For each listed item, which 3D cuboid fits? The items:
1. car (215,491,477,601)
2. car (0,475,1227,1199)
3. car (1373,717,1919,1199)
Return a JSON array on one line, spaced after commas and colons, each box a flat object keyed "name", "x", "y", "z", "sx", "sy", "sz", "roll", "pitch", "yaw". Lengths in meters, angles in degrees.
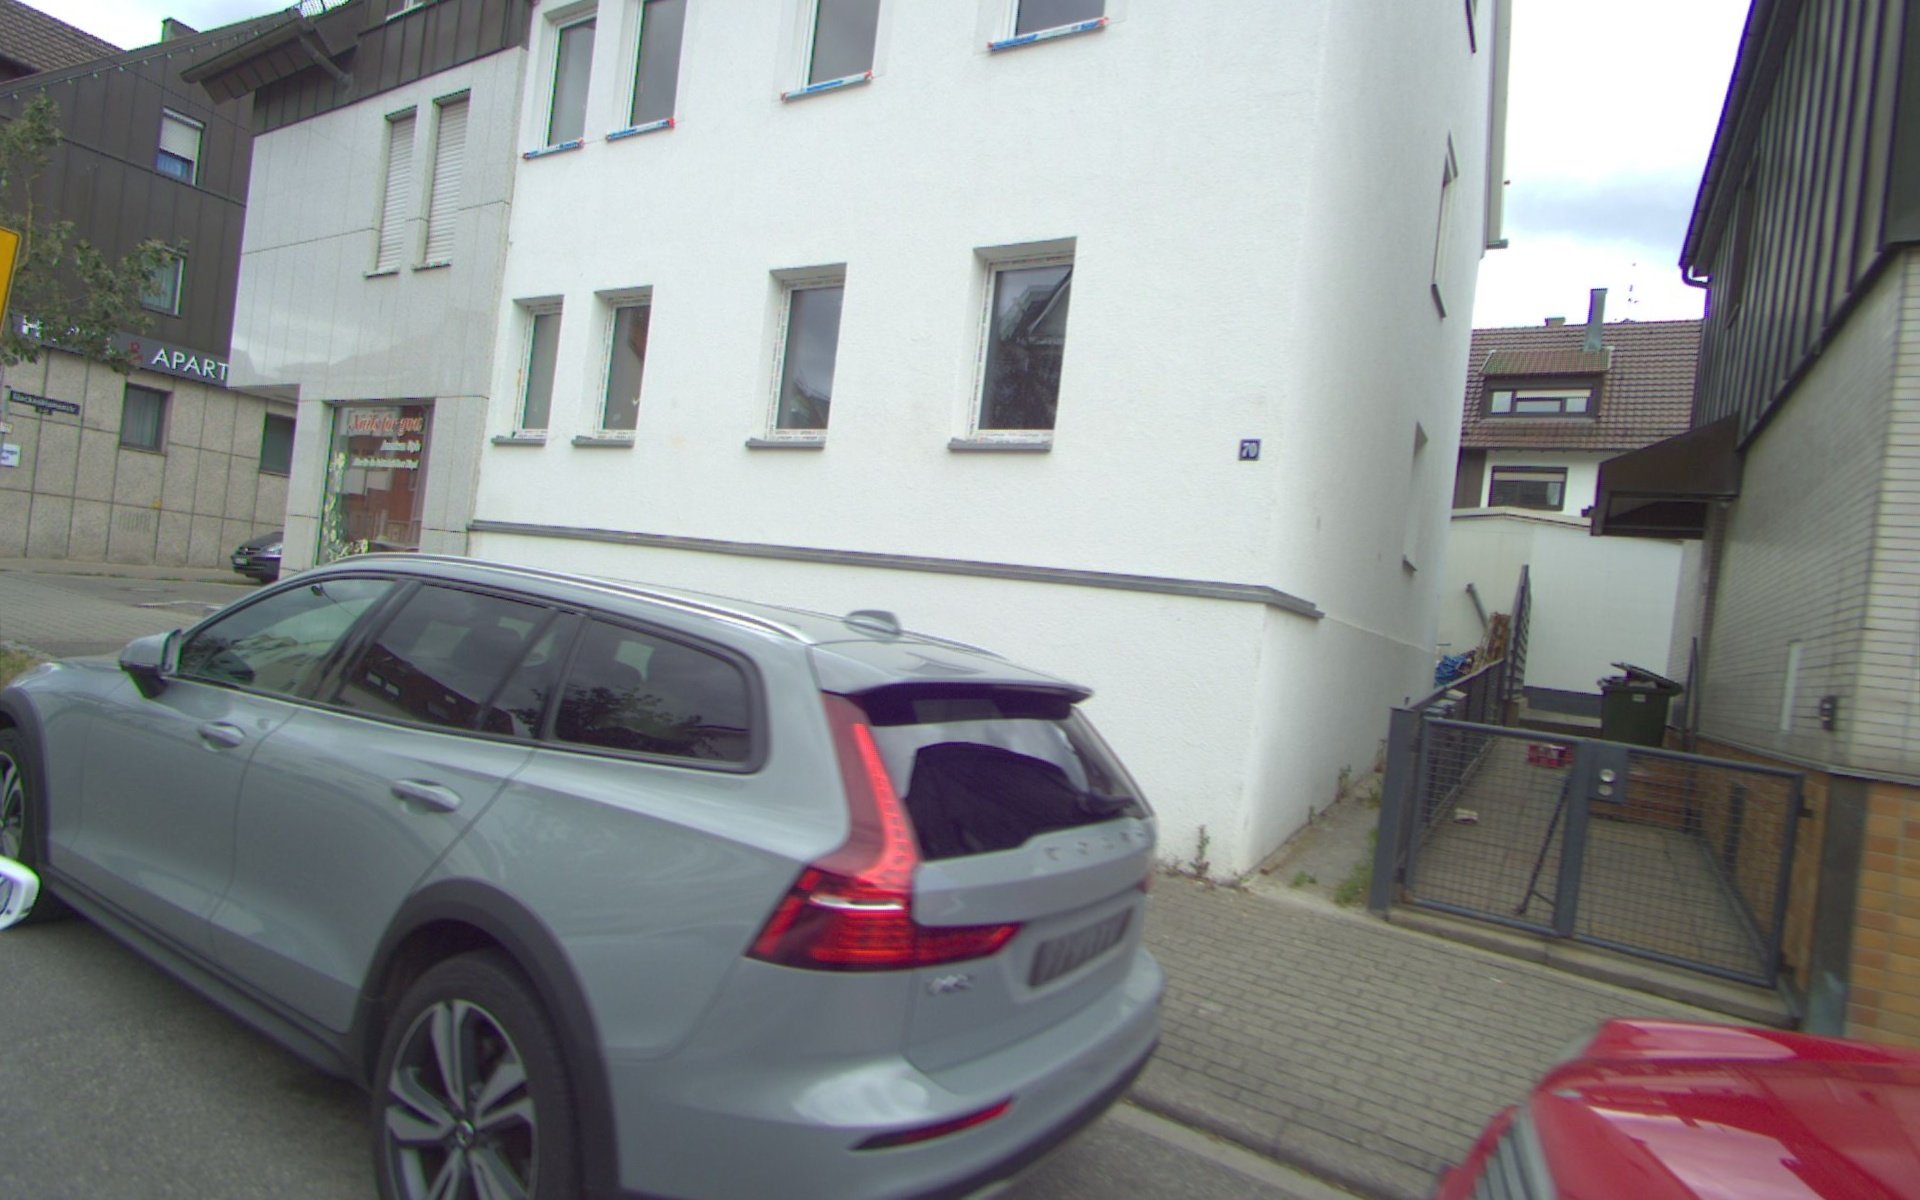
[{"name": "car", "x": -13.380, "y": -1.106, "z": 22.225, "sx": 1.897, "sy": 1.890, "sz": 4.485, "roll": 7, "pitch": 1, "yaw": 30}, {"name": "car", "x": -1.614, "y": 0.587, "z": 3.450, "sx": 4.435, "sy": 1.557, "sz": 1.880, "roll": 7, "pitch": -1, "yaw": 29}, {"name": "car", "x": 2.777, "y": 1.175, "z": 0.851, "sx": 4.379, "sy": 1.462, "sz": 1.759, "roll": 7, "pitch": -2, "yaw": 30}]
